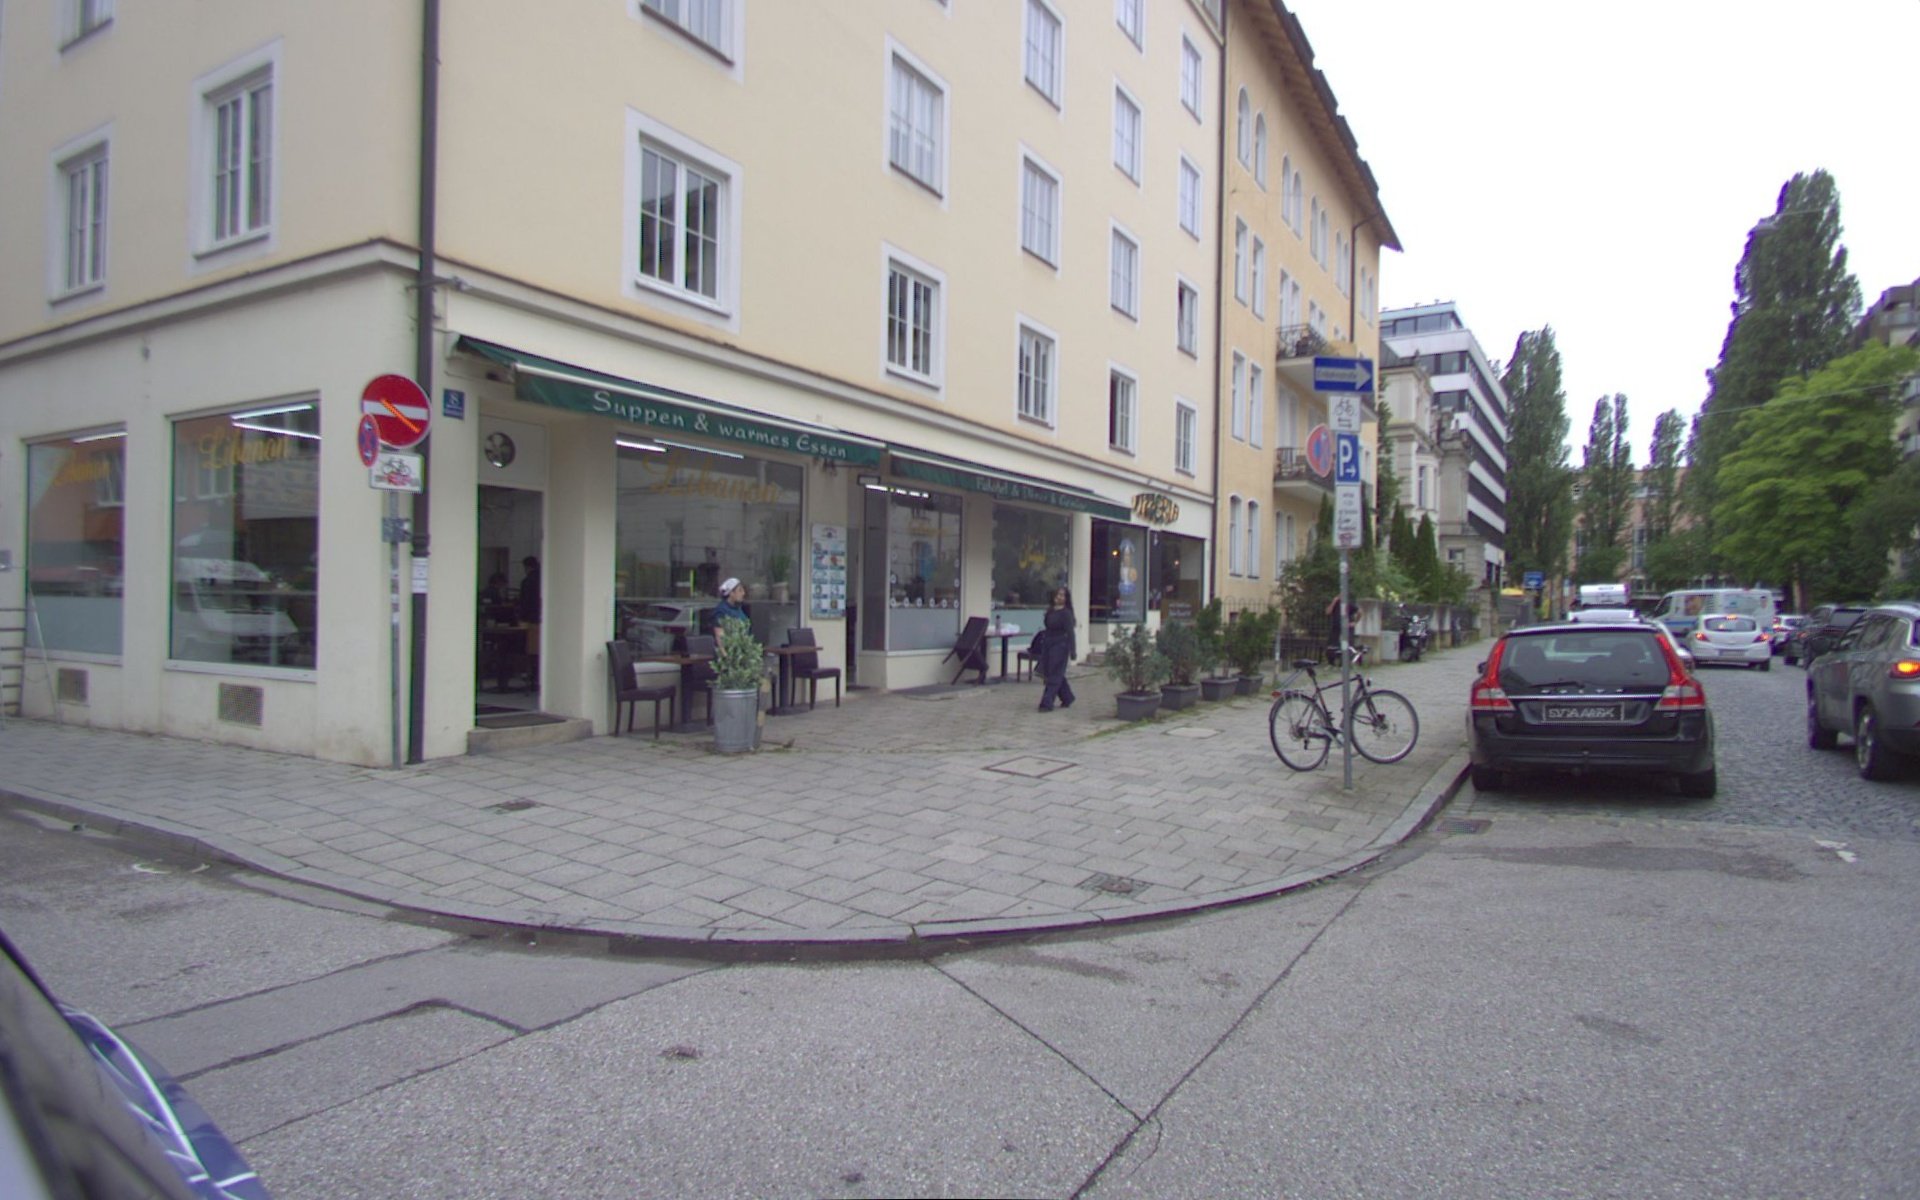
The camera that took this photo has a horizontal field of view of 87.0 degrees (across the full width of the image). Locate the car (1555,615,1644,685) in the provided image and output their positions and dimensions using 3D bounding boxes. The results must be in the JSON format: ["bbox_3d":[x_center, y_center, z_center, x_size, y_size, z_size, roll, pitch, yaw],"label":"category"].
[{"bbox_3d":[14.735,1.086,23.313,1.615,1.453,3.955,0,-1,33],"label":"car"}]

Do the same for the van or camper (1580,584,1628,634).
[{"bbox_3d":[40.008,0.568,62.995,2.420,2.957,5.313,0,-1,32],"label":"van or camper"}]

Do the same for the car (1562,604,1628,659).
[{"bbox_3d":[20.567,0.974,32.821,1.702,1.660,3.956,0,-1,32],"label":"car"}]

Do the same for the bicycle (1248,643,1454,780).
[{"bbox_3d":[3.662,1.007,9.482,1.803,1.178,0.611,1,1,-19],"label":"bicycle"}]

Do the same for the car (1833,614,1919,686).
[{"bbox_3d":[21.892,1.112,23.679,1.683,1.545,3.826,0,-1,33],"label":"car"}]

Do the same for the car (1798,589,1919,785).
[{"bbox_3d":[9.742,0.766,9.766,1.957,1.620,4.262,0,-1,32],"label":"car"}]

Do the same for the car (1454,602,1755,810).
[{"bbox_3d":[6.077,0.846,9.780,1.896,1.527,4.302,-4,-2,31],"label":"car"}]

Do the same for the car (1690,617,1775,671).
[{"bbox_3d":[20.852,1.148,27.416,1.601,1.340,2.920,0,-1,33],"label":"car"}]

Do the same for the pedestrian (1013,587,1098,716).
[{"bbox_3d":[1.240,0.632,13.008,0.747,1.563,0.843,3,1,31],"label":"pedestrian"}]

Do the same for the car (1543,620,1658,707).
[{"bbox_3d":[11.475,1.049,18.120,1.589,1.351,3.770,0,-1,33],"label":"car"}]

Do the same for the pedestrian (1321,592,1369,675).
[{"bbox_3d":[8.062,0.688,21.199,0.731,1.669,0.783,3,1,33],"label":"pedestrian"}]

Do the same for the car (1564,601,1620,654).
[{"bbox_3d":[23.862,0.993,38.244,1.702,1.874,3.956,0,-1,32],"label":"car"}]

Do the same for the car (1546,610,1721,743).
[{"bbox_3d":[9.015,0.927,13.829,1.677,1.519,4.220,-2,-2,30],"label":"car"}]

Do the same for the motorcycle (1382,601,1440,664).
[{"bbox_3d":[11.322,0.827,25.336,0.960,1.473,2.858,0,-2,31],"label":"motorcycle"}]

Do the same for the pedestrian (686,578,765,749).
[{"bbox_3d":[-2.344,0.616,10.154,0.534,1.654,0.602,0,-1,17],"label":"pedestrian"}]

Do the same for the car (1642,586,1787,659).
[{"bbox_3d":[27.310,0.788,36.859,2.136,2.494,4.596,1,-1,5],"label":"car"}]

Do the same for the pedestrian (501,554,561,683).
[{"bbox_3d":[-5.963,0.261,14.071,0.659,1.738,0.565,2,-2,-28],"label":"pedestrian"}]

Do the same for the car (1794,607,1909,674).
[{"bbox_3d":[24.022,1.033,27.407,1.702,1.660,3.956,0,-1,32],"label":"car"}]
